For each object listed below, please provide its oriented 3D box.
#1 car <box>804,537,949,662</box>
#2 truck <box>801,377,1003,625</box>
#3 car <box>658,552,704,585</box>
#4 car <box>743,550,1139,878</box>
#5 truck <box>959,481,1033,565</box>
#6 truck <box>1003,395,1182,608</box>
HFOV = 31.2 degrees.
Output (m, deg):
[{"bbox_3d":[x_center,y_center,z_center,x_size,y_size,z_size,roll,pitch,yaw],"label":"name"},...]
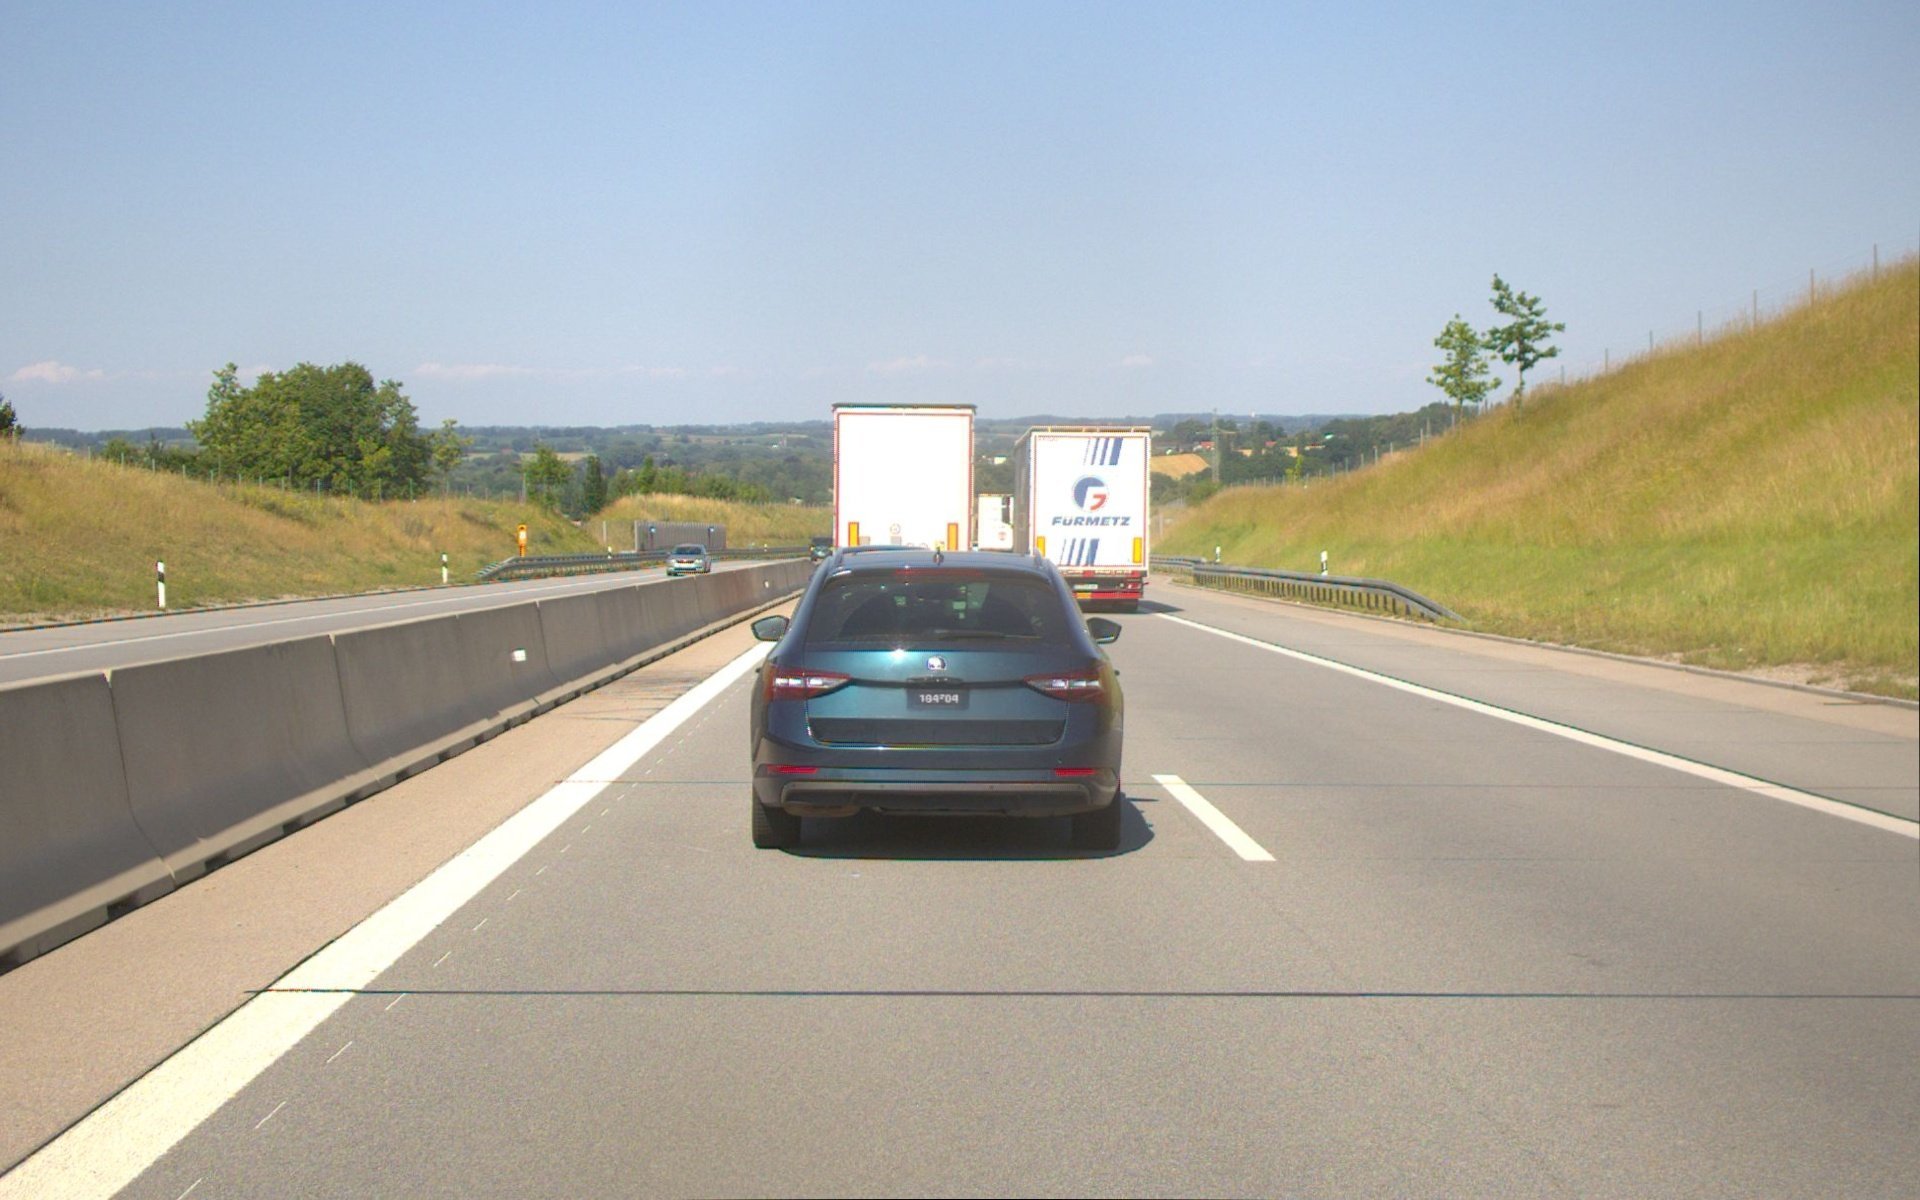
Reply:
[{"bbox_3d":[-1.064,-0.039,43.419,1.700,1.436,4.000,-2,1,-2],"label":"car"},{"bbox_3d":[-0.983,-1.904,67.777,3.211,4.366,11.233,-2,1,2],"label":"truck"},{"bbox_3d":[-12.839,-1.447,158.461,1.803,1.466,4.527,0,1,0],"label":"car"},{"bbox_3d":[-0.145,0.490,17.466,1.776,1.436,3.789,-1,1,-2],"label":"car"},{"bbox_3d":[2.036,-4.208,187.975,3.604,4.366,11.233,-2,1,2],"label":"truck"},{"bbox_3d":[2.981,-2.203,78.068,3.604,4.366,11.233,-2,1,2],"label":"truck"}]
